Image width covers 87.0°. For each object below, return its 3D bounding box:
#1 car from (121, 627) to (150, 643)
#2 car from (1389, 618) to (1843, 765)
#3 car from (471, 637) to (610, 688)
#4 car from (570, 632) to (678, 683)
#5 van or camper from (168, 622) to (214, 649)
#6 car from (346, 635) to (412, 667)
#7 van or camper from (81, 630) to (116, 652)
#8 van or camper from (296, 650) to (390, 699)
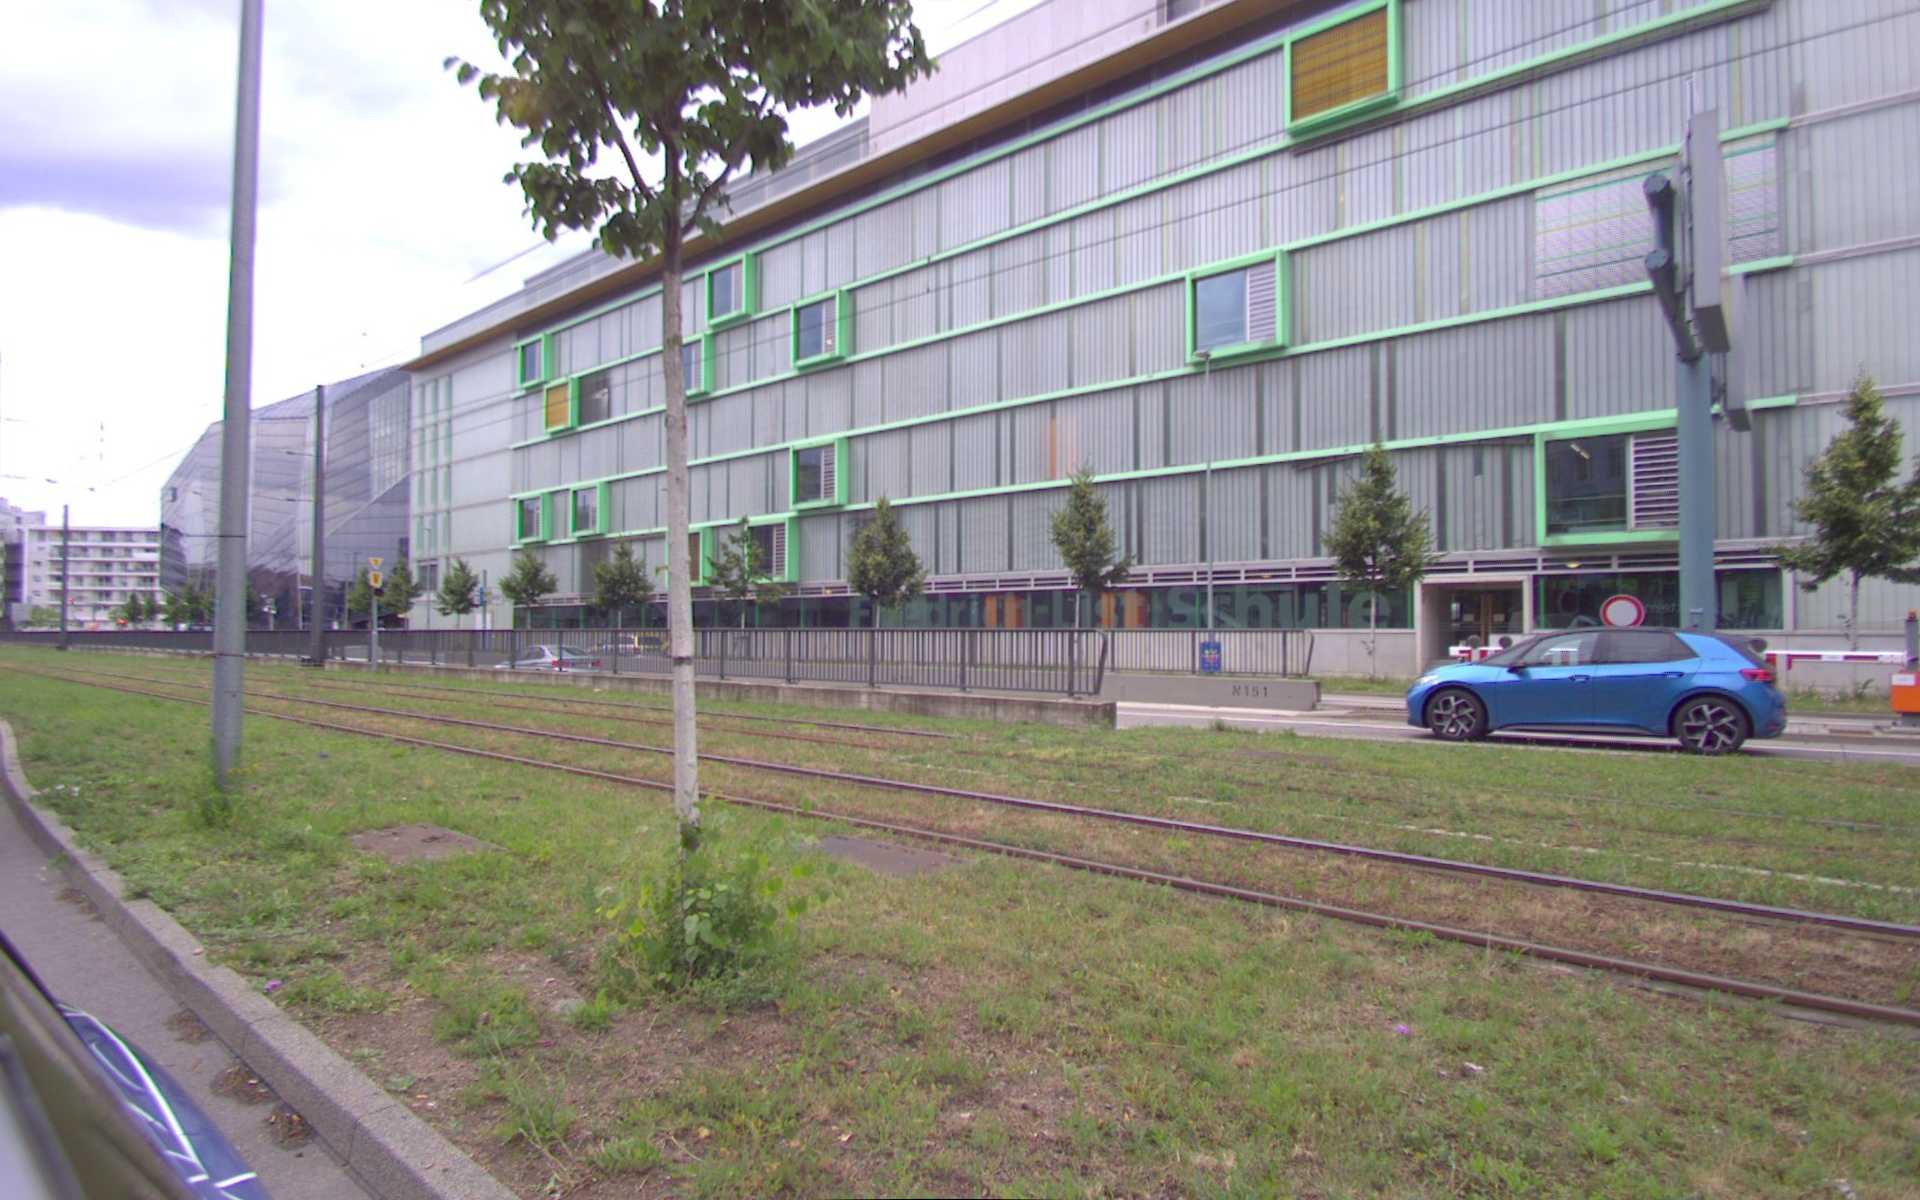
[{"bbox_3d":[-92.736,3.974,113.799,4.766,1.605,1.972,-4,-4,43],"label":"car"},{"bbox_3d":[8.344,1.074,13.293,4.679,1.600,1.946,-2,-2,36],"label":"car"},{"bbox_3d":[-13.160,1.935,31.601,4.913,1.456,1.712,-2,-4,37],"label":"car"},{"bbox_3d":[-14.304,2.383,42.917,5.292,2.029,1.972,-2,-2,42],"label":"car"},{"bbox_3d":[-66.707,3.077,87.740,5.356,2.304,2.150,-2,-2,41],"label":"van or camper"},{"bbox_3d":[-35.102,3.049,61.100,4.965,1.837,1.972,-2,-2,42],"label":"car"},{"bbox_3d":[-96.251,4.579,113.059,6.503,2.304,2.150,-2,-2,42],"label":"van or camper"},{"bbox_3d":[-26.637,3.145,43.606,5.120,1.915,1.870,-1,-3,40],"label":"van or camper"}]
